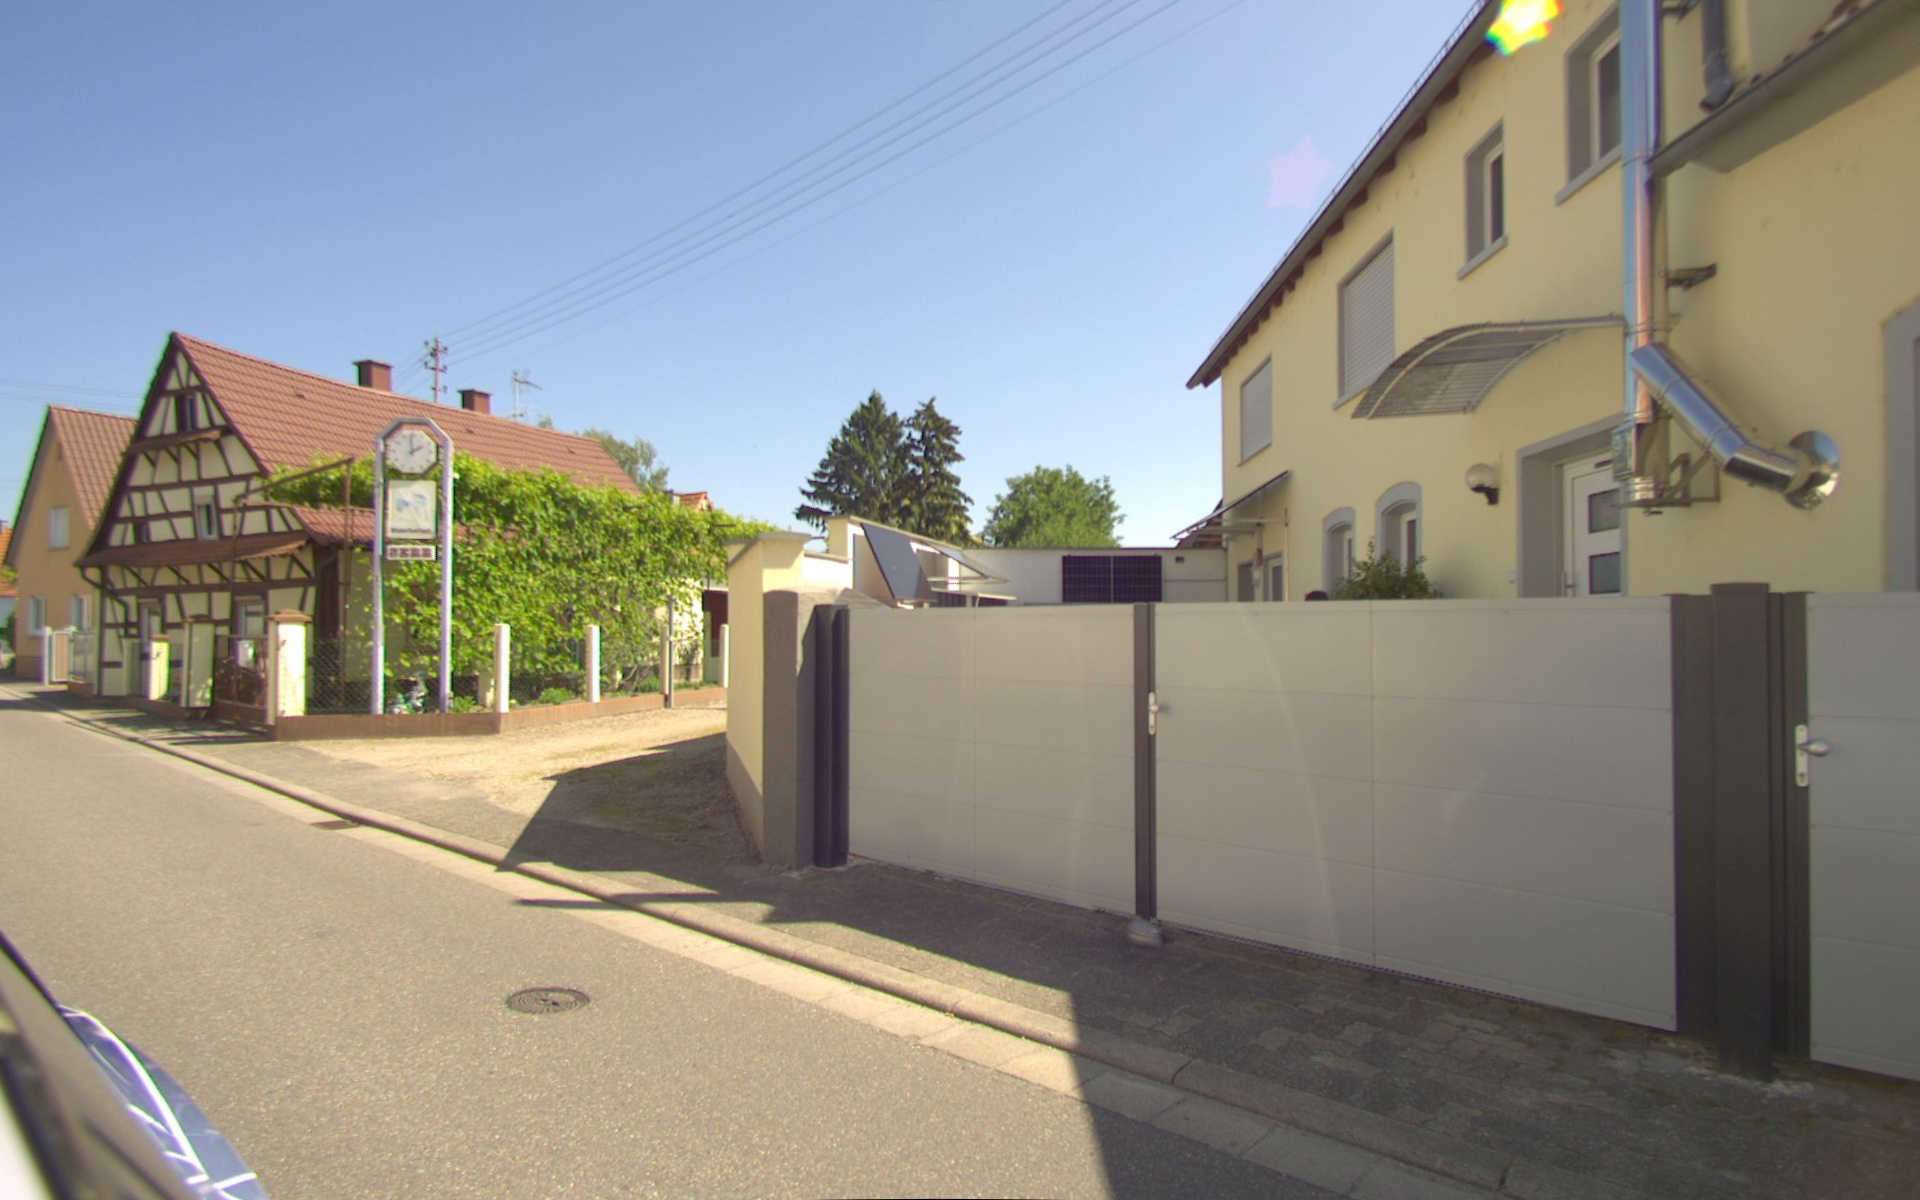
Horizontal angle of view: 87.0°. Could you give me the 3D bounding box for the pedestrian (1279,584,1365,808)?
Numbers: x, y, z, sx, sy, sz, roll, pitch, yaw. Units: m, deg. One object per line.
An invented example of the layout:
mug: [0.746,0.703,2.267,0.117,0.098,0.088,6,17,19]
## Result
pedestrian: [2.773,0.713,7.767,0.439,1.656,0.407,0,-1,-27]

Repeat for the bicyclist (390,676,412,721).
bicyclist: [-7.718,1.359,13.980,0.243,0.586,0.219,0,-1,-34]

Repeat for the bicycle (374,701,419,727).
bicycle: [-7.759,1.569,13.943,0.526,0.307,0.220,-1,-1,-34]
